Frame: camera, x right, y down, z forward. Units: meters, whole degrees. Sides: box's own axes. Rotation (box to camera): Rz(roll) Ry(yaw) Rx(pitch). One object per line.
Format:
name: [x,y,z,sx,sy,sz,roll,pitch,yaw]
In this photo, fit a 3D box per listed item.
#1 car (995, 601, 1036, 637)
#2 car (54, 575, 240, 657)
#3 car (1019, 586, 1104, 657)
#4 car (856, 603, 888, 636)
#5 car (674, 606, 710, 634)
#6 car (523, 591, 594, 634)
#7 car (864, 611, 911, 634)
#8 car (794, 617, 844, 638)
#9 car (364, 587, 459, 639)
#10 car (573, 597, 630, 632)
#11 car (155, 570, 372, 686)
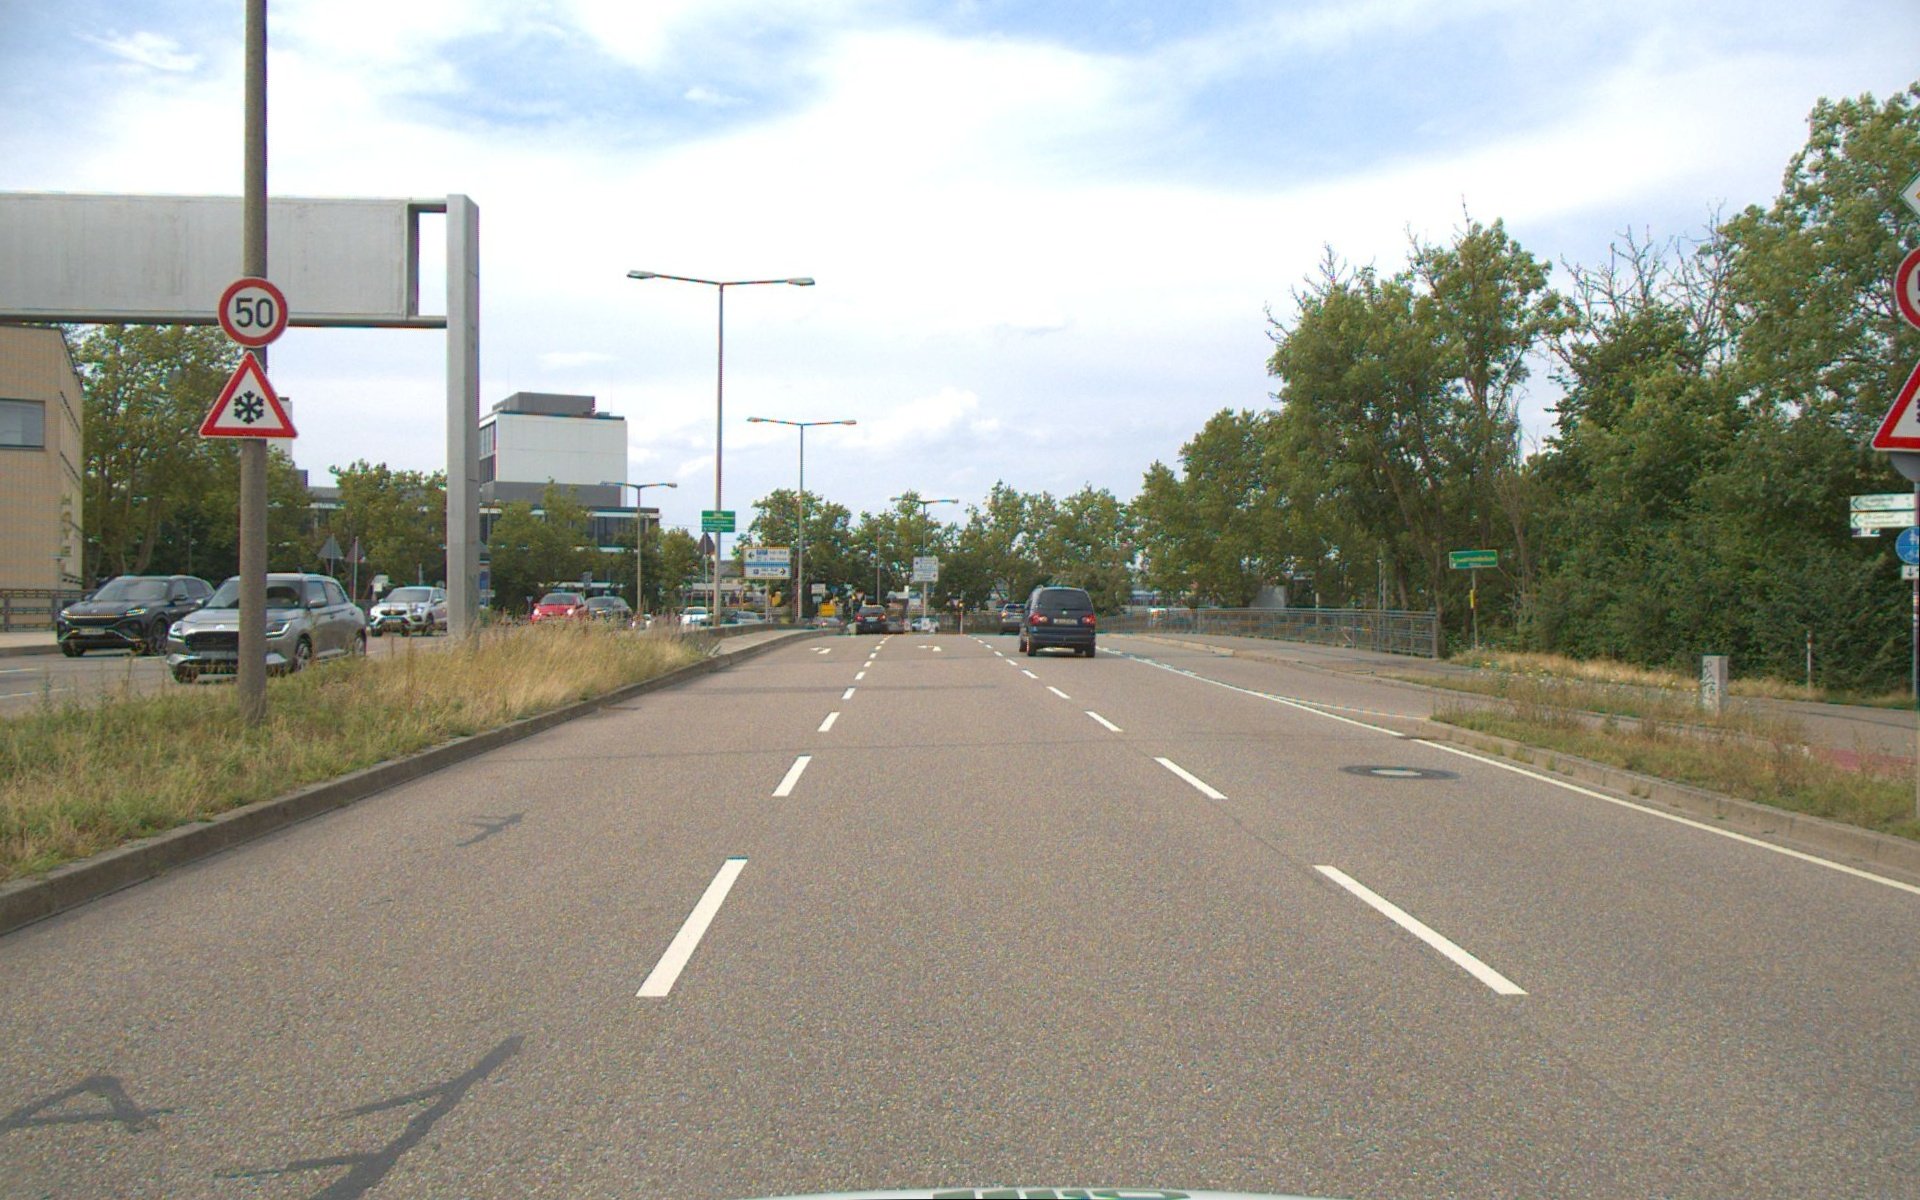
car: [2.823,0.957,84.962,1.696,1.682,4.113,1,1,-3]
car: [-16.907,0.318,34.660,1.757,1.551,4.592,-1,0,-2]
car: [2.578,0.511,42.816,1.696,1.682,4.113,1,1,-3]
car: [-4.811,1.055,90.309,1.696,1.682,4.113,1,1,-3]
car: [-15.506,1.139,95.883,1.702,1.508,4.080,-1,0,-4]
car: [-14.614,0.455,60.397,1.757,1.466,3.796,-1,0,-2]
car: [-5.307,1.640,120.261,1.713,1.553,4.072,1,1,-31]
car: [-10.412,2.013,122.283,3.568,1.443,1.726,2,1,42]
car: [-17.470,0.418,52.855,1.757,1.551,4.186,-1,0,-2]
car: [-16.816,0.670,77.724,1.883,1.551,4.186,-1,0,-2]
car: [-9.881,0.360,23.771,1.661,1.512,3.858,1,0,-4]
